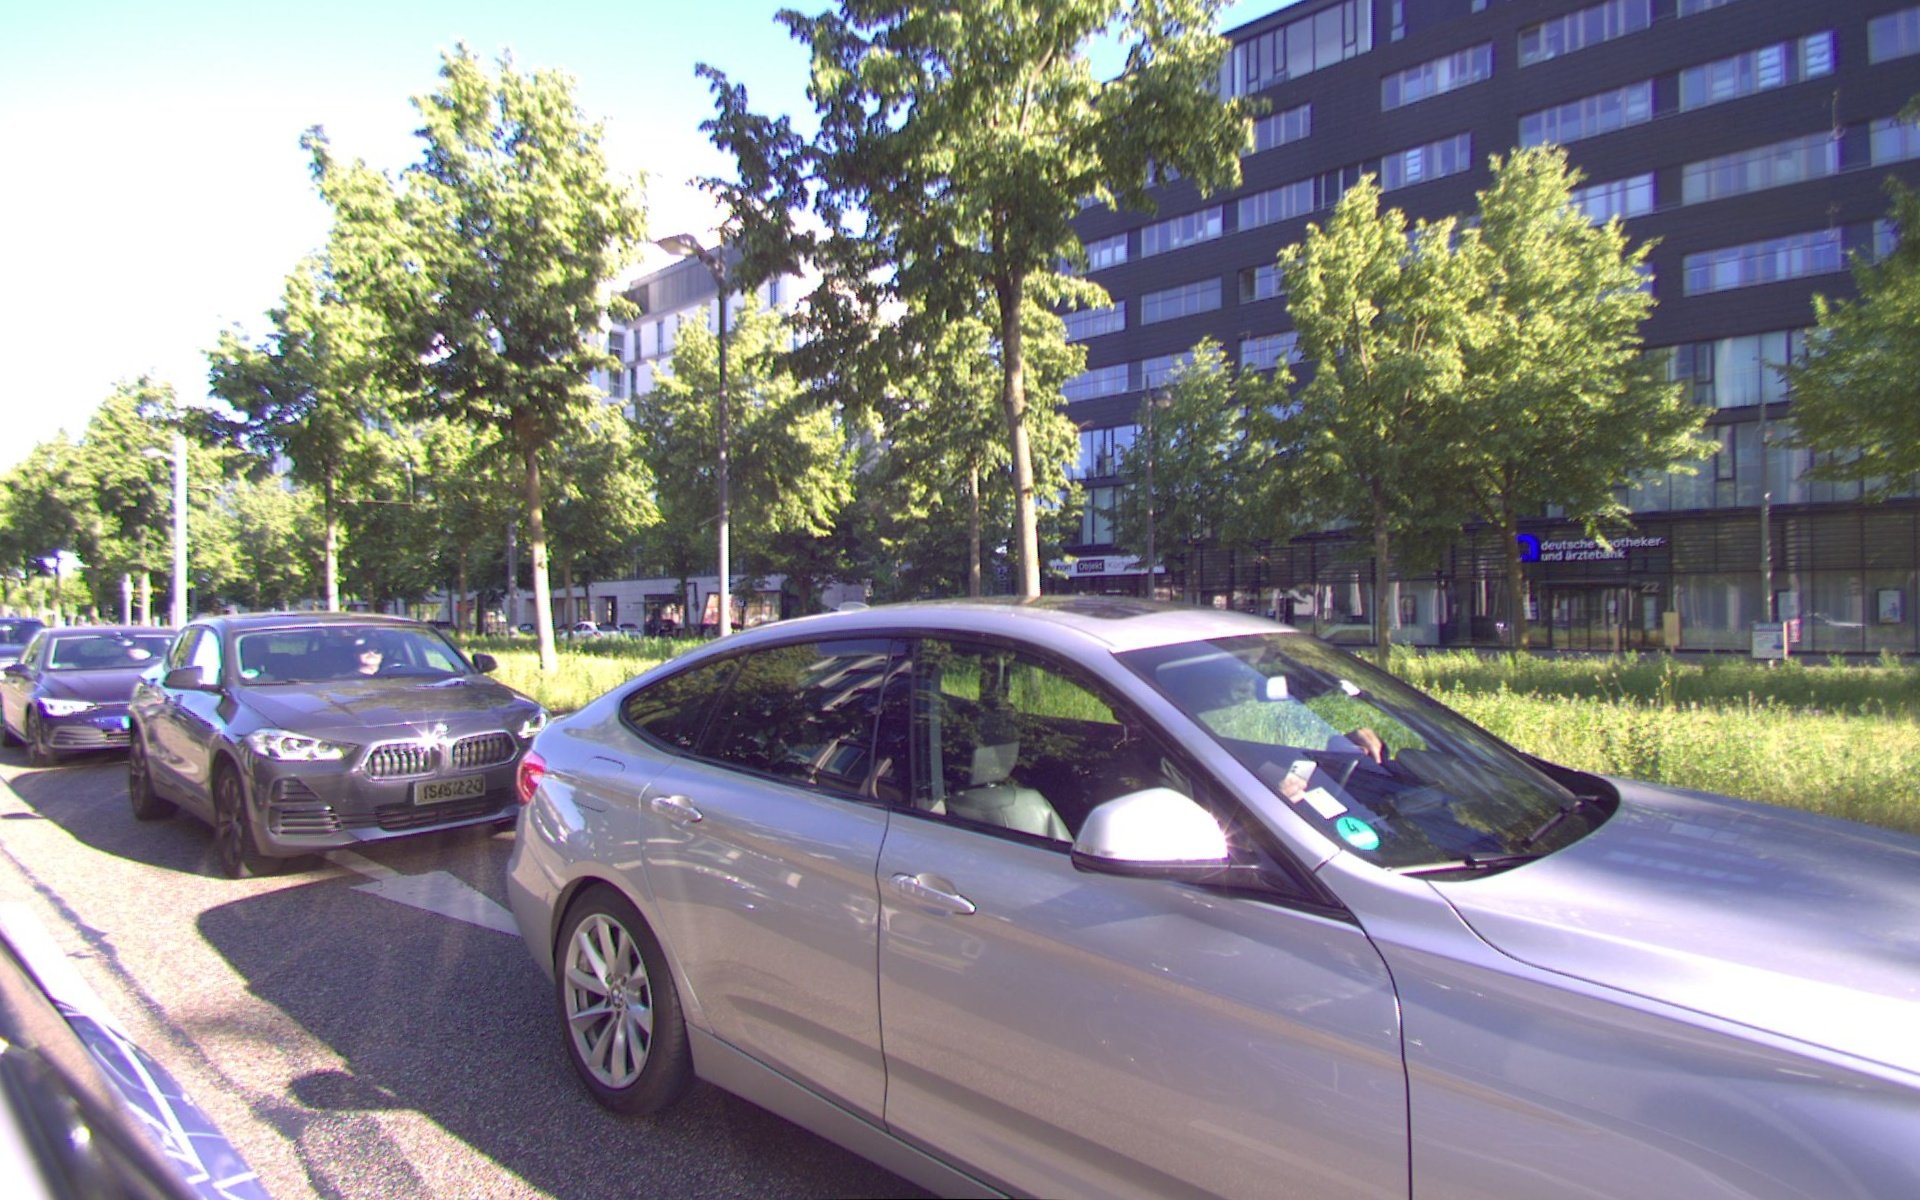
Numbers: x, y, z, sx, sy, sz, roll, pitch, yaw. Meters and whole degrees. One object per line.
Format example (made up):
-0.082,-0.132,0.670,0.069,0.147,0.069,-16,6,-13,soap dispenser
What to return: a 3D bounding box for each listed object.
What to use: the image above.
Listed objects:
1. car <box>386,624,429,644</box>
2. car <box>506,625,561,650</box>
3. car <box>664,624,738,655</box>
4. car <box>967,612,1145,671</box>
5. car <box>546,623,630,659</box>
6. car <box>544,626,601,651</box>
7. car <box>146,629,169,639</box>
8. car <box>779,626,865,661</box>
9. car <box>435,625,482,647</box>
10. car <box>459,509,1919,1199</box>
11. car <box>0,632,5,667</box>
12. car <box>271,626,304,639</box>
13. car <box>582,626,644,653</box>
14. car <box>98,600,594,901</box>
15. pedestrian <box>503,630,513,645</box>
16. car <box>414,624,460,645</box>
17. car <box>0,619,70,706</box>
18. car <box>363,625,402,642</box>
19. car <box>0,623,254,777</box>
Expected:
-46.629,2.854,85.343,4.182,1.609,1.859,-2,-1,41,car
-29.728,2.592,70.484,4.182,1.609,1.859,-2,-1,41,car
-14.220,2.133,55.555,4.182,1.609,1.926,-2,-1,41,car
2.544,1.089,27.458,4.561,1.458,1.782,-1,-1,37,car
-17.791,1.916,48.340,4.567,1.494,1.780,-1,2,42,car
-25.700,2.527,67.072,4.182,1.609,1.859,-2,-1,41,car
-114.616,4.817,144.524,4.001,1.406,1.971,-2,-2,44,car
-6.769,2.078,49.402,4.182,1.609,1.926,-2,-1,41,car
-38.668,2.739,77.992,4.182,1.609,1.859,-2,-1,41,car
0.628,0.680,2.603,4.558,1.495,1.800,-1,-1,40,car
-45.428,2.265,46.574,4.344,1.582,1.854,-1,-1,43,car
-72.526,3.502,109.086,3.998,1.406,1.972,-2,-2,42,car
-21.686,2.470,63.257,4.182,1.609,1.859,-2,-1,41,car
-4.447,0.795,7.088,3.998,1.502,1.837,-1,-1,41,car
-39.623,3.273,88.660,0.660,1.349,0.597,-2,-1,41,pedestrian
-42.130,2.784,81.499,4.182,1.609,1.859,-2,-1,41,car
-19.382,1.204,20.311,4.344,1.598,1.854,-1,-1,43,car
-50.577,2.908,88.616,4.001,1.406,1.971,-2,-2,44,car
-9.844,0.998,11.720,4.344,1.434,1.854,-1,-1,43,car
